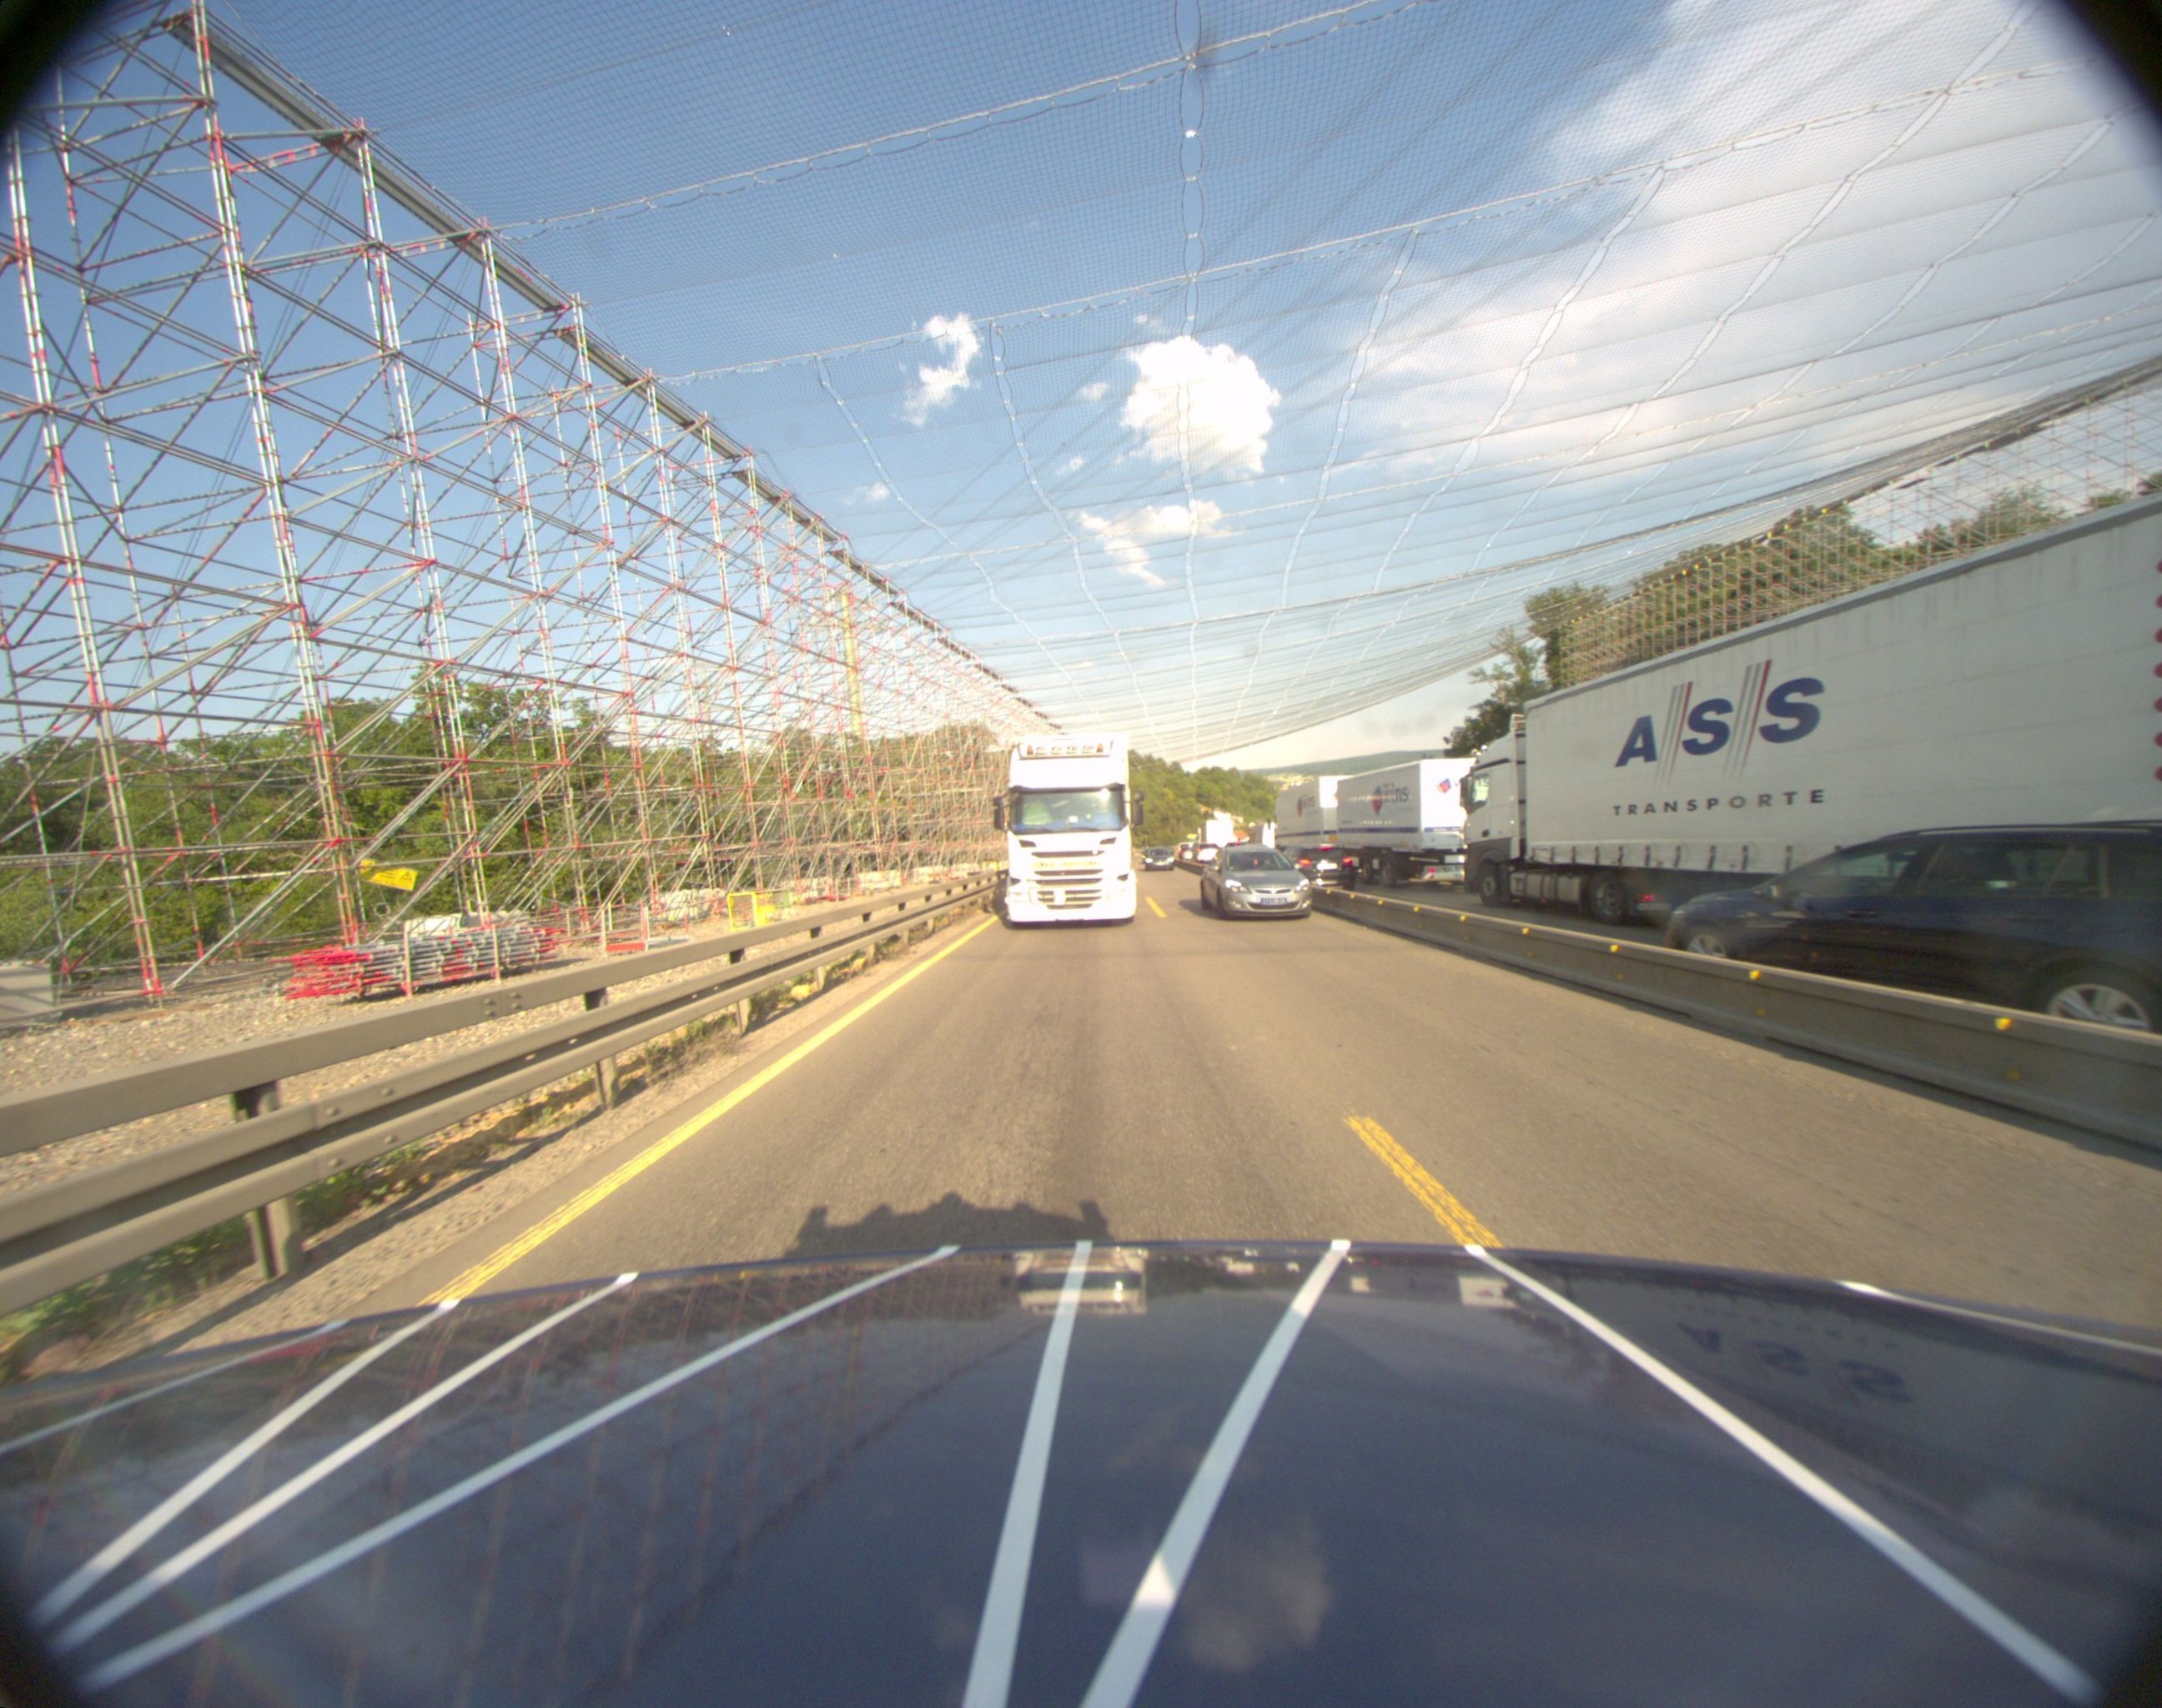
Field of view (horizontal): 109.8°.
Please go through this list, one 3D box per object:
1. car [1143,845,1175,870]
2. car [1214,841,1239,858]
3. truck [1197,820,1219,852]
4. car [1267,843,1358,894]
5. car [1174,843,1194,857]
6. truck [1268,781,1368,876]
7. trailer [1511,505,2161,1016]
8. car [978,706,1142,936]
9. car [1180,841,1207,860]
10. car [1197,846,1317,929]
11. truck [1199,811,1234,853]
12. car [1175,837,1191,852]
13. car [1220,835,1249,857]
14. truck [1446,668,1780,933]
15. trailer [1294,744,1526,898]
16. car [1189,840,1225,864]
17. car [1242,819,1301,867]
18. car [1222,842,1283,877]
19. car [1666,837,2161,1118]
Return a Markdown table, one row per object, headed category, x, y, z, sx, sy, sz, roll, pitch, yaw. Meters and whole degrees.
| category | x | y | z | sx | sy | sz | roll | pitch | yaw |
| --- | --- | --- | --- | --- | --- | --- | --- | --- | --- |
| car | 4.799 | 0.179 | 47.180 | 1.764 | 1.376 | 3.823 | -2 | 1 | 4 |
| car | 14.125 | -0.464 | 73.992 | 1.796 | 1.531 | 4.910 | -2 | 1 | 5 |
| truck | 19.962 | -2.783 | 120.243 | 2.992 | 4.532 | 17.414 | -2 | 1 | 8 |
| car | 6.925 | 0.375 | 23.116 | 1.611 | 1.368 | 3.900 | -2 | 1 | 1 |
| car | 11.310 | -0.502 | 83.535 | 1.812 | 1.411 | 4.519 | -2 | 1 | 5 |
| truck | 10.811 | -1.129 | 35.417 | 2.637 | 3.888 | 7.204 | -2 | 1 | 3 |
| trailer | 9.577 | -0.779 | 7.721 | 2.434 | 3.940 | 14.096 | -2 | 1 | 0 |
| car | -0.233 | -0.660 | 18.040 | 2.858 | 4.092 | 8.280 | -2 | 1 | 2 |
| car | 9.834 | -0.332 | 66.465 | 1.812 | 1.559 | 4.366 | -2 | 1 | 2 |
| car | 3.596 | 0.599 | 16.250 | 1.759 | 1.464 | 4.353 | -2 | 1 | 4 |
| truck | 15.009 | -2.393 | 85.164 | 2.727 | 4.203 | 14.172 | -2 | 1 | 6 |
| car | 13.742 | -1.291 | 102.846 | 1.812 | 1.858 | 5.282 | -2 | 1 | 5 |
| car | 12.788 | -0.670 | 63.529 | 1.828 | 1.717 | 4.938 | -2 | 1 | 5 |
| truck | 9.632 | -0.866 | 14.627 | 2.479 | 4.023 | 5.616 | -2 | 1 | 1 |
| trailer | 10.650 | -0.985 | 26.938 | 2.676 | 3.992 | 13.332 | -2 | 1 | 1 |
| car | 8.509 | -0.165 | 51.554 | 1.812 | 1.559 | 4.366 | -2 | 1 | 2 |
| car | 11.784 | -0.680 | 47.609 | 2.246 | 2.697 | 7.082 | -2 | 1 | 4 |
| car | 7.666 | 0.196 | 34.436 | 1.782 | 1.442 | 4.663 | -2 | 1 | 1 |
| car | 6.508 | 0.613 | 5.232 | 1.798 | 1.390 | 4.243 | -2 | 1 | 2 |
